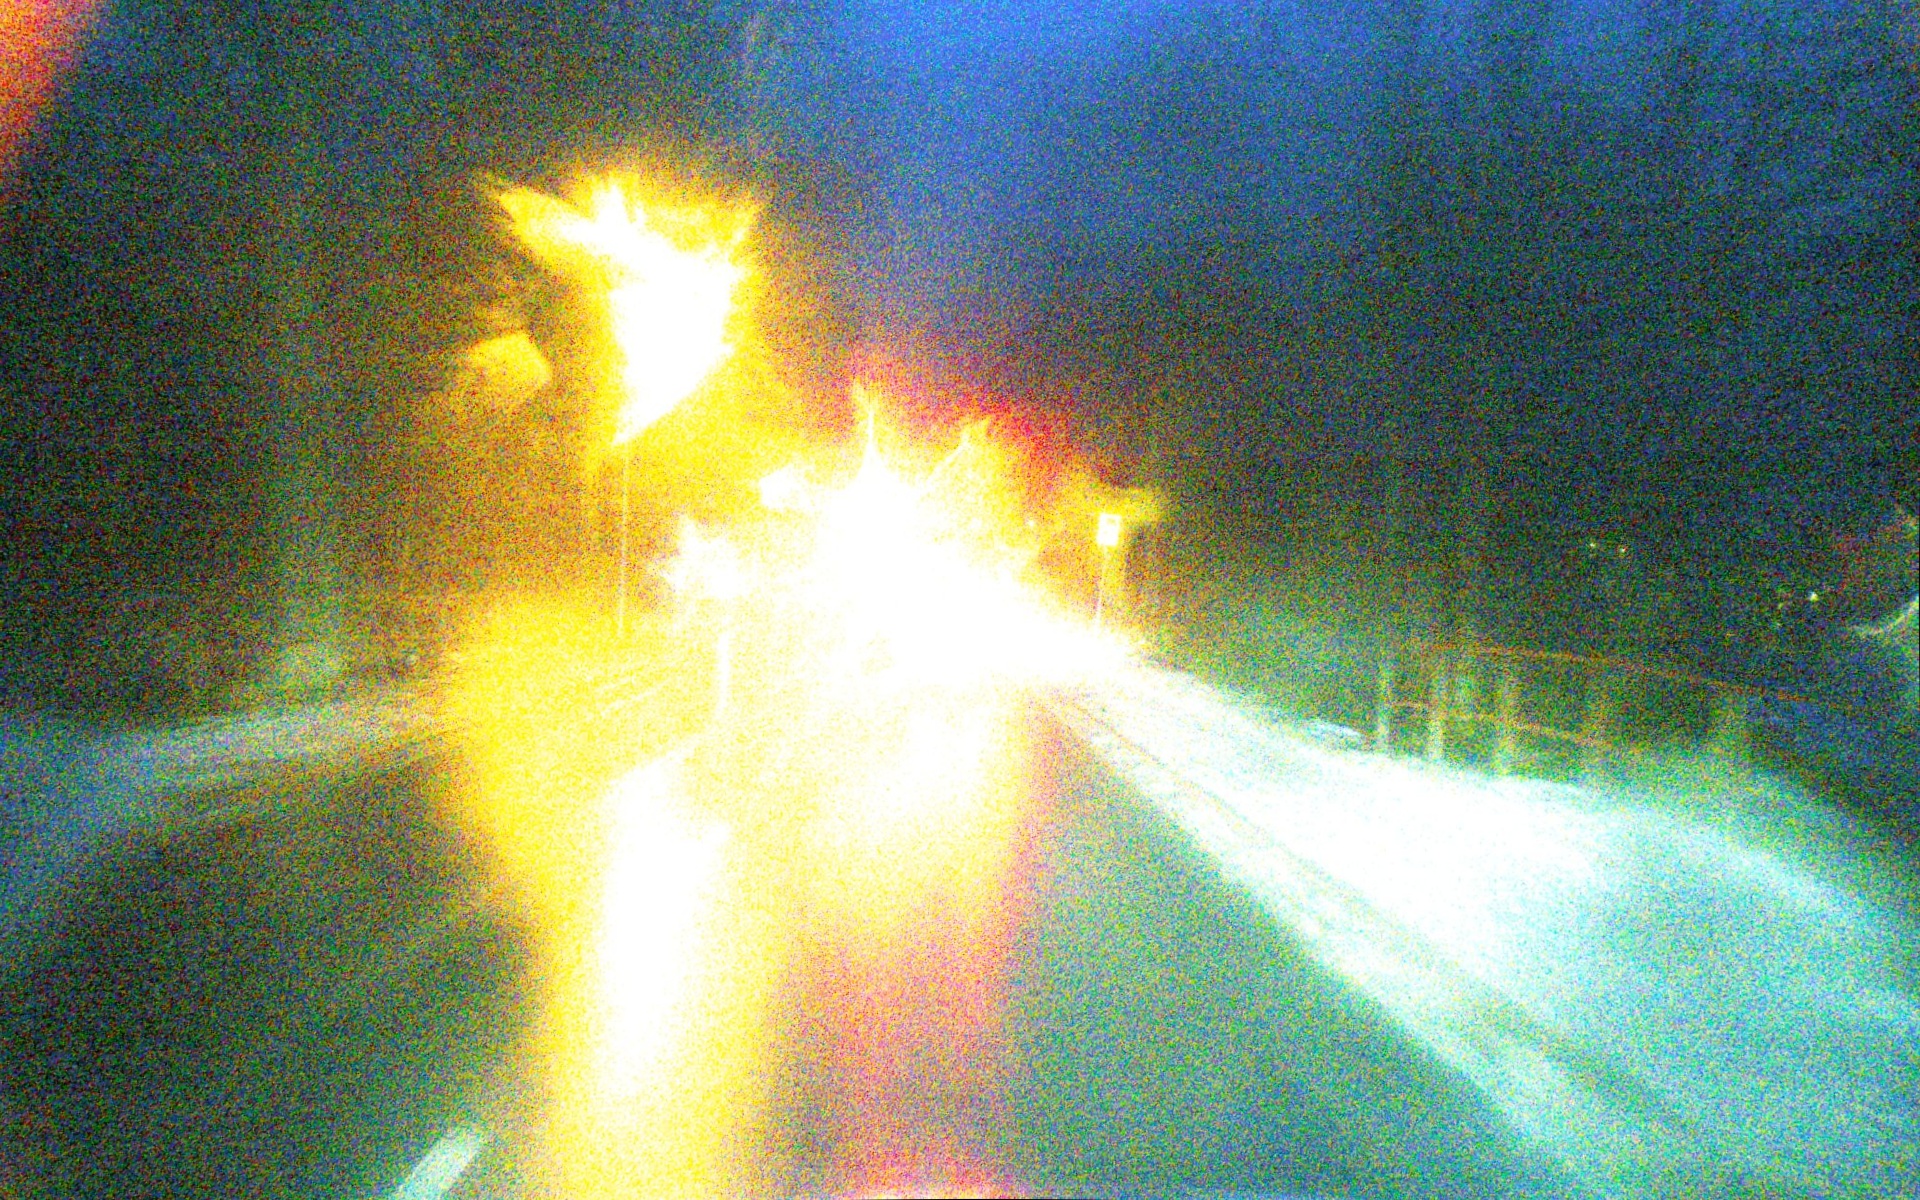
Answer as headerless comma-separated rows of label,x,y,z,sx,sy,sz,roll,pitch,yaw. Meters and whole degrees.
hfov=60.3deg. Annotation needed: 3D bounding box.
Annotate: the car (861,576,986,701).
car,-0.565,0.523,25.413,1.754,1.710,3.904,1,1,-1
